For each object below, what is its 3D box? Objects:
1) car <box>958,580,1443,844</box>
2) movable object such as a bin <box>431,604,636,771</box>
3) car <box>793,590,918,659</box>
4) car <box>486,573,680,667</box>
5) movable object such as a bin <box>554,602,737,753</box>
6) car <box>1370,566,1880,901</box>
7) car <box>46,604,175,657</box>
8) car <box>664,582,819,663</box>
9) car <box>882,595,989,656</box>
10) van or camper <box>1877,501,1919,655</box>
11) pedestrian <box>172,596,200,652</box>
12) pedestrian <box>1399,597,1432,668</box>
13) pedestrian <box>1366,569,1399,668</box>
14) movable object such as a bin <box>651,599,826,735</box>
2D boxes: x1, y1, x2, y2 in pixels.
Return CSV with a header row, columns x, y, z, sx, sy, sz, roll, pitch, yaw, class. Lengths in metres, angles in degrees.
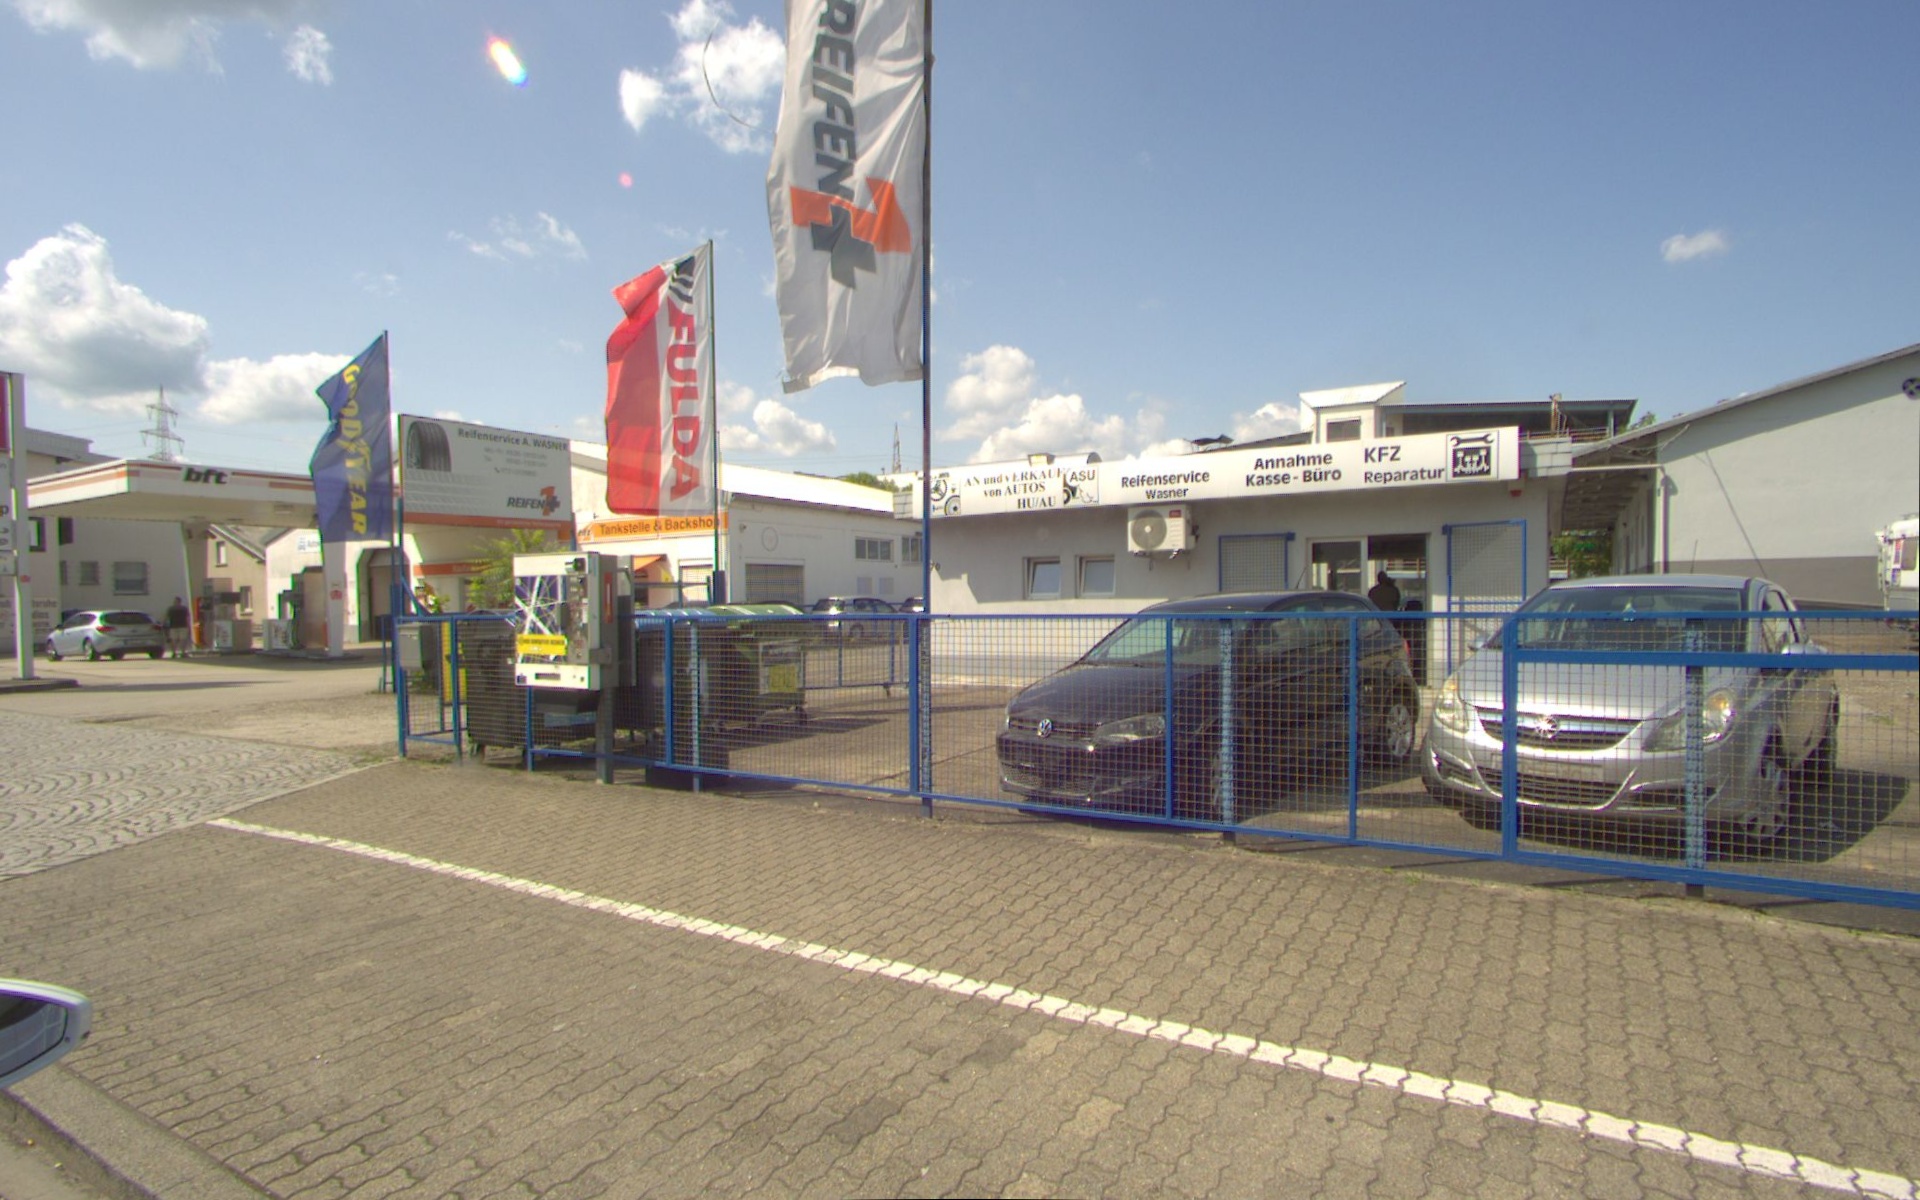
x,y,z,sx,sy,sz,roll,pitch,yaw,class
2.012,0.625,7.652,3.962,1.499,1.705,-1,1,-43,car
-4.135,0.782,9.748,1.434,1.473,1.224,0,1,31,movable object such as a bin
-3.268,0.725,31.991,1.971,2.040,3.979,0,0,32,car
-8.916,0.433,23.985,1.971,2.040,3.979,0,0,32,car
-3.374,0.773,10.788,1.434,1.473,1.224,0,1,31,movable object such as a bin
4.500,0.585,6.515,4.104,1.499,1.787,-1,0,-42,car
-25.837,0.887,30.437,3.950,1.499,1.829,-1,1,31,car
-5.951,0.569,27.639,1.971,2.040,3.979,0,0,32,car
-0.808,0.860,35.880,1.971,2.040,3.979,0,0,32,car
21.344,-0.461,19.325,4.983,3.002,2.276,0,1,31,van or camper
-23.743,0.727,30.718,0.628,1.705,0.618,-1,1,-36,pedestrian
7.976,0.560,17.529,0.480,1.229,0.499,0,1,30,pedestrian
7.424,0.323,17.581,0.480,1.710,0.499,0,1,30,pedestrian
-2.608,0.741,11.903,1.433,1.473,1.427,0,1,31,movable object such as a bin
